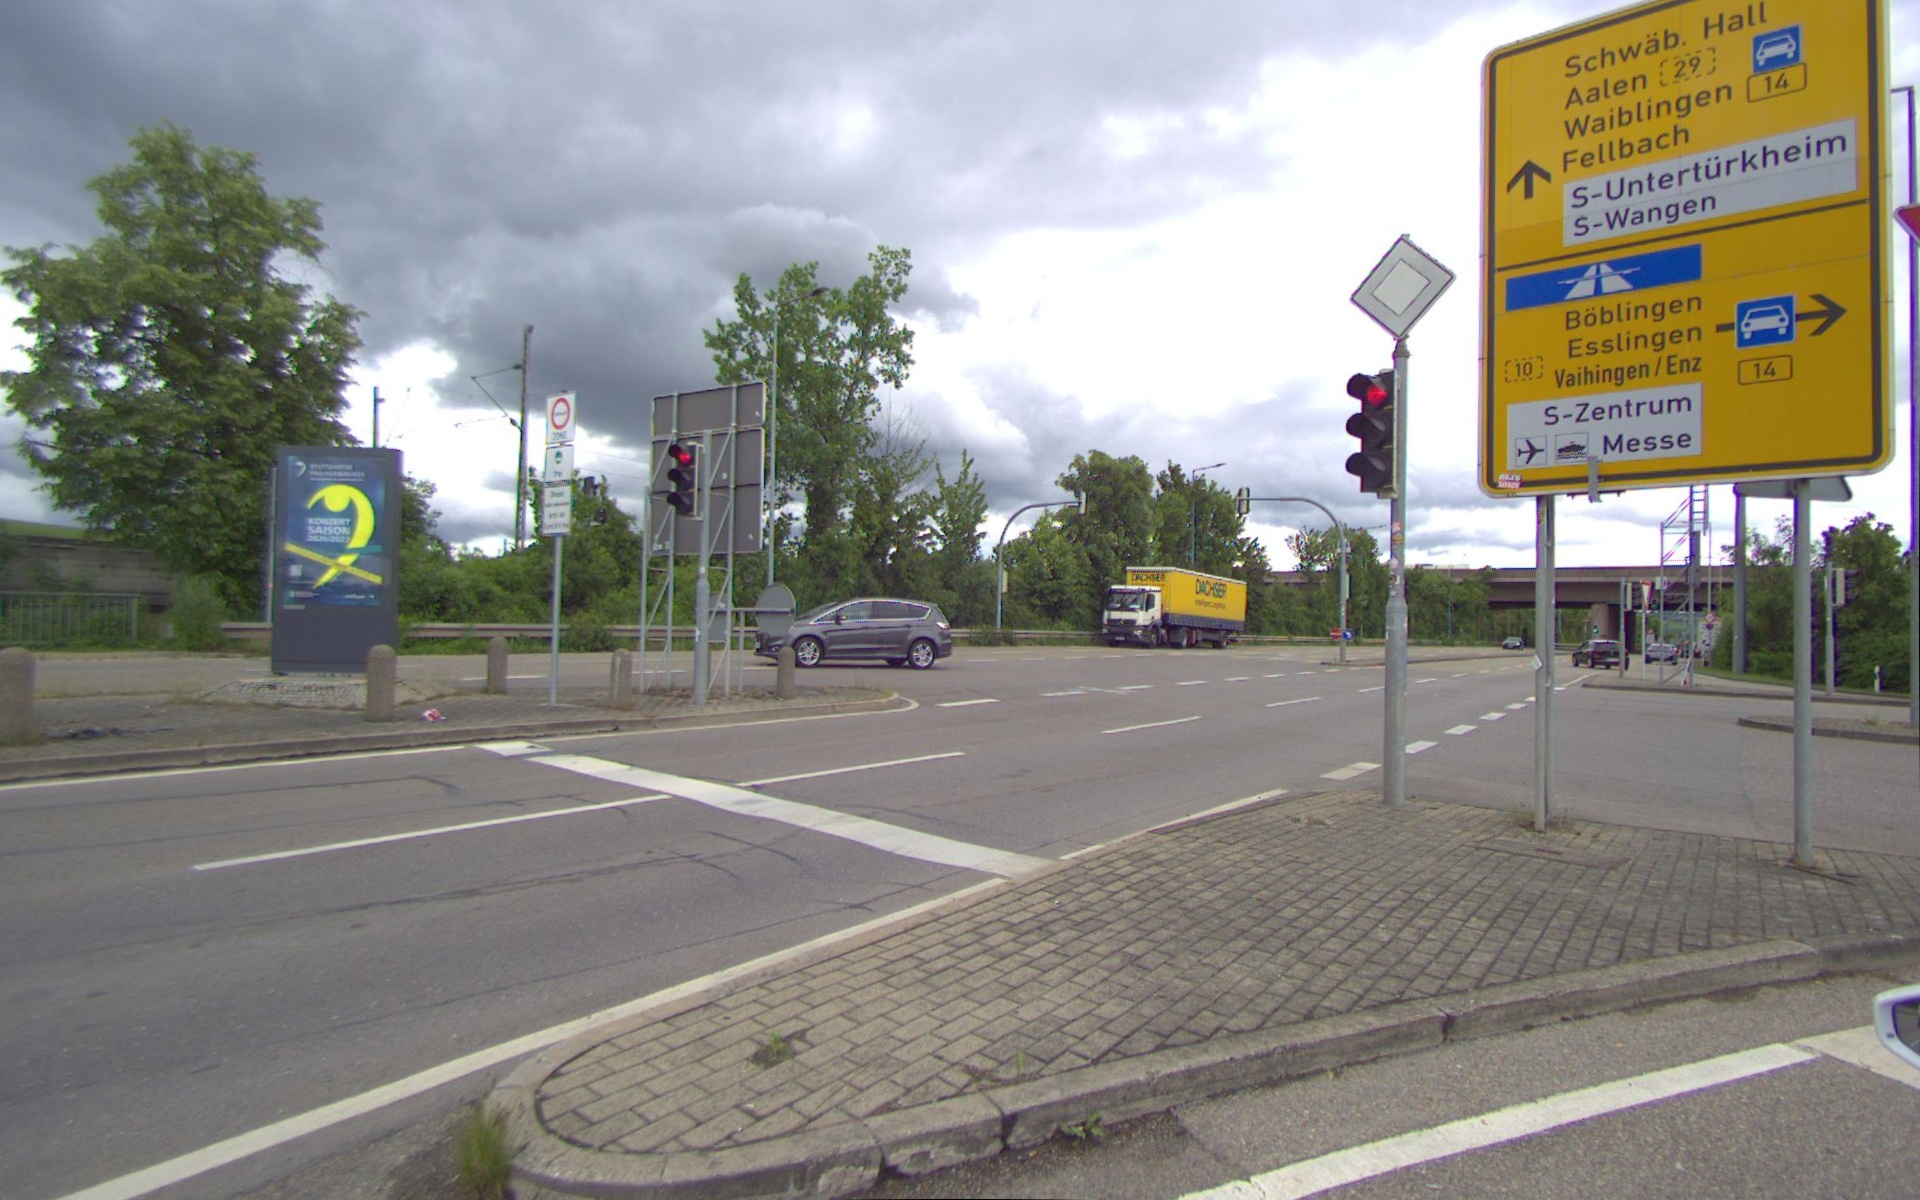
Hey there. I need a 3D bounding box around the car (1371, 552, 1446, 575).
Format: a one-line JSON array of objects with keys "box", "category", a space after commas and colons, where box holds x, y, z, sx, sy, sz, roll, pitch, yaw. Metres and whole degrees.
[{"box": [73.311, -6.020, 164.534, 3.456, 3.071, 11.051, 2, 3, -34], "category": "car"}]

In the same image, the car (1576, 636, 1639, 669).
[{"box": [33.296, 2.660, 51.740, 1.878, 1.440, 3.993, 4, 0, 22], "category": "car"}]

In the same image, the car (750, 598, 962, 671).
[{"box": [-2.461, 0.800, 23.803, 4.628, 1.592, 1.944, 1, 0, -24], "category": "car"}]

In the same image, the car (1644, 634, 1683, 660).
[{"box": [51.171, 3.393, 73.007, 1.886, 1.684, 4.726, 5, 2, 39], "category": "car"}]

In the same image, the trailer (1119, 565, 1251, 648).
[{"box": [12.917, 0.415, 56.539, 2.834, 4.139, 11.388, 3, 1, 36], "category": "trailer"}]

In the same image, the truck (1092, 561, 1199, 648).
[{"box": [9.698, 0.274, 52.003, 2.834, 4.139, 6.465, 3, 1, 36], "category": "truck"}]

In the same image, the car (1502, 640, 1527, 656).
[{"box": [63.479, 5.474, 114.911, 1.839, 1.402, 3.852, 5, 3, 38], "category": "car"}]

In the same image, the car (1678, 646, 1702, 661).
[{"box": [82.312, 6.043, 113.270, 1.969, 1.483, 4.093, 2, -2, 39], "category": "car"}]
